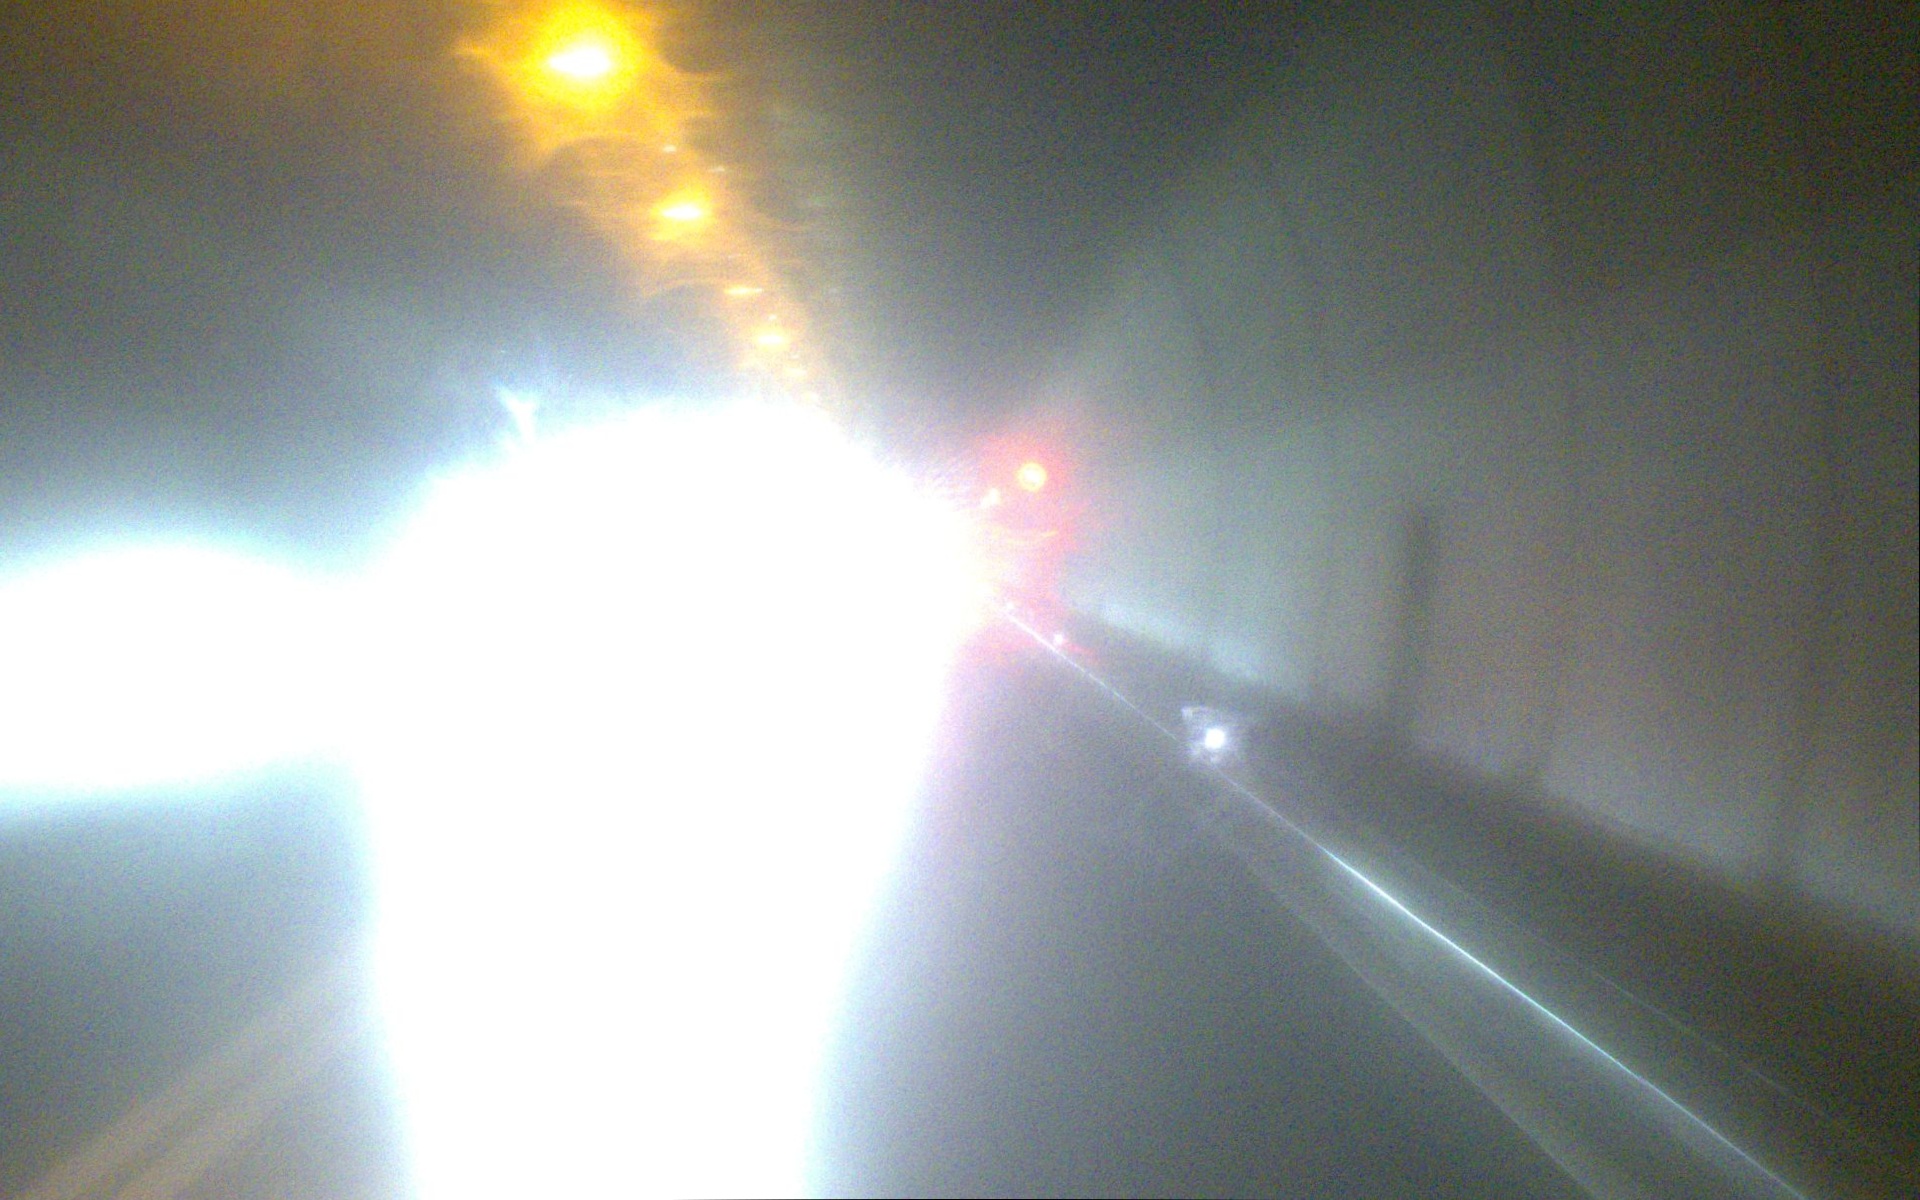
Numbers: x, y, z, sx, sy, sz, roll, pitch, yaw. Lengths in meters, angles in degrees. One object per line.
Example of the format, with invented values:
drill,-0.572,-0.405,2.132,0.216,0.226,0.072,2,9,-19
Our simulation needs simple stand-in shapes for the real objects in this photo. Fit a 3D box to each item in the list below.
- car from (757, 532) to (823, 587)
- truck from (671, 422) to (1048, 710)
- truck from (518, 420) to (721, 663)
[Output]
car,-4.746,-1.154,96.502,1.794,1.477,3.869,0,1,-2
truck,-0.989,-0.398,36.946,3.535,2.684,8.956,-1,1,-1
truck,-4.462,-0.791,46.023,2.279,3.006,6.595,0,1,-2
